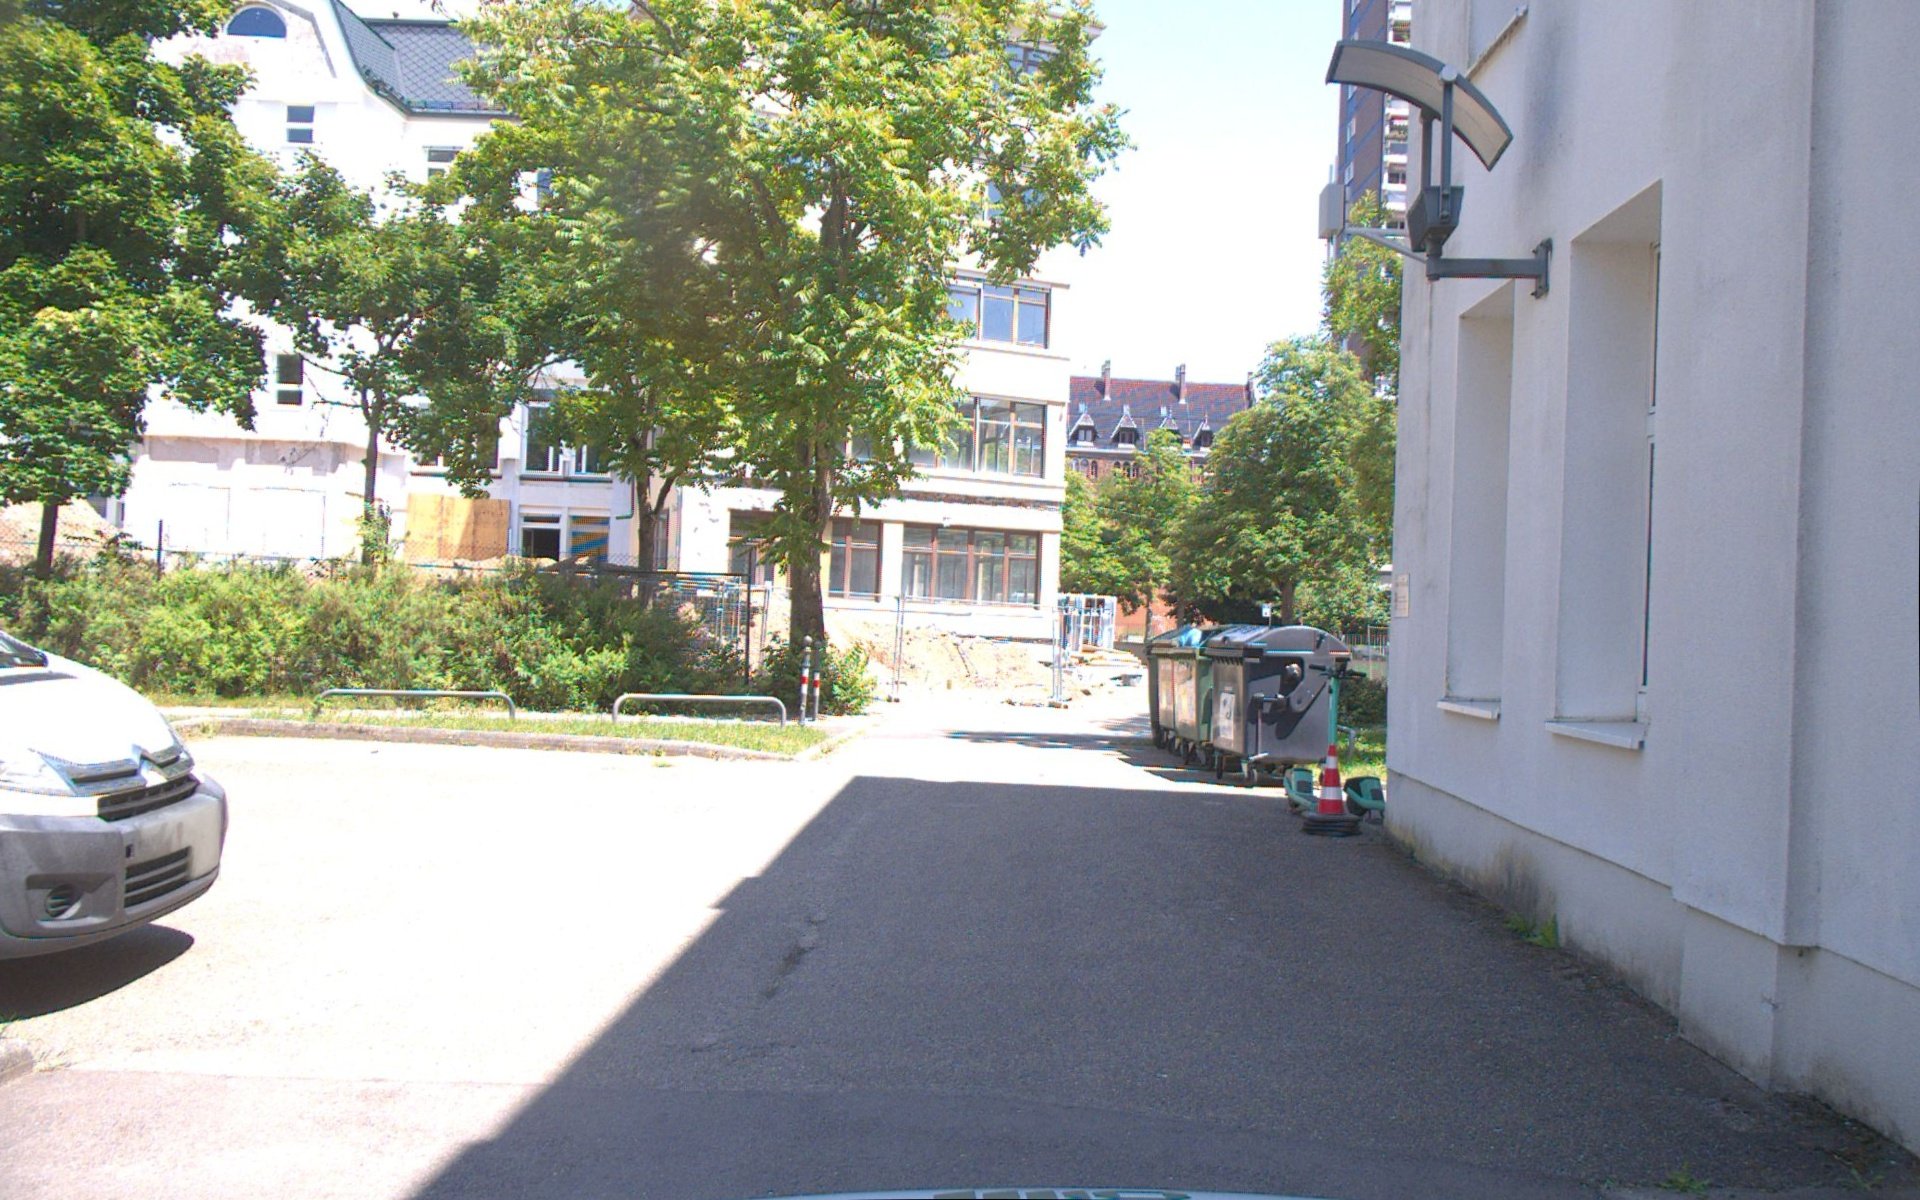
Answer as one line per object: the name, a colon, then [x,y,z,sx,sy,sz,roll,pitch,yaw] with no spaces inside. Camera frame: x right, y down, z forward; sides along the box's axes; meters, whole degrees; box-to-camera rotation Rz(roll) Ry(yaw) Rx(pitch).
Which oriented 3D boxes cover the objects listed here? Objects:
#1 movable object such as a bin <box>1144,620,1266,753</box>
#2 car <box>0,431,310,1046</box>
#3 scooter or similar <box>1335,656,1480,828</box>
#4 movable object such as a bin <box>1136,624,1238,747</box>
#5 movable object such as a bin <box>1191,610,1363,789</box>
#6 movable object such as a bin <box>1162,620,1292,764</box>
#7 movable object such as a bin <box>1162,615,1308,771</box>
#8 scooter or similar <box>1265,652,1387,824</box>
movable object such as a bin: [2.927,1.031,19.888,1.155,1.495,1.310,3,-2,-4]
car: [-5.176,0.385,6.121,4.693,1.945,1.999,2,-1,-3]
scooter or similar: [3.341,1.039,12.433,0.456,1.194,1.251,2,-1,-15]
movable object such as a bin: [2.957,1.098,21.426,1.154,1.495,1.334,2,-2,13]
movable object such as a bin: [2.906,0.898,15.328,1.133,1.532,1.460,3,-2,-7]
movable object such as a bin: [2.955,1.007,18.445,1.155,1.495,1.311,3,-2,-2]
movable object such as a bin: [2.813,0.939,17.065,1.156,1.495,1.310,3,-2,-4]
scooter or similar: [2.745,1.007,12.496,0.455,1.194,1.355,2,-1,-6]
